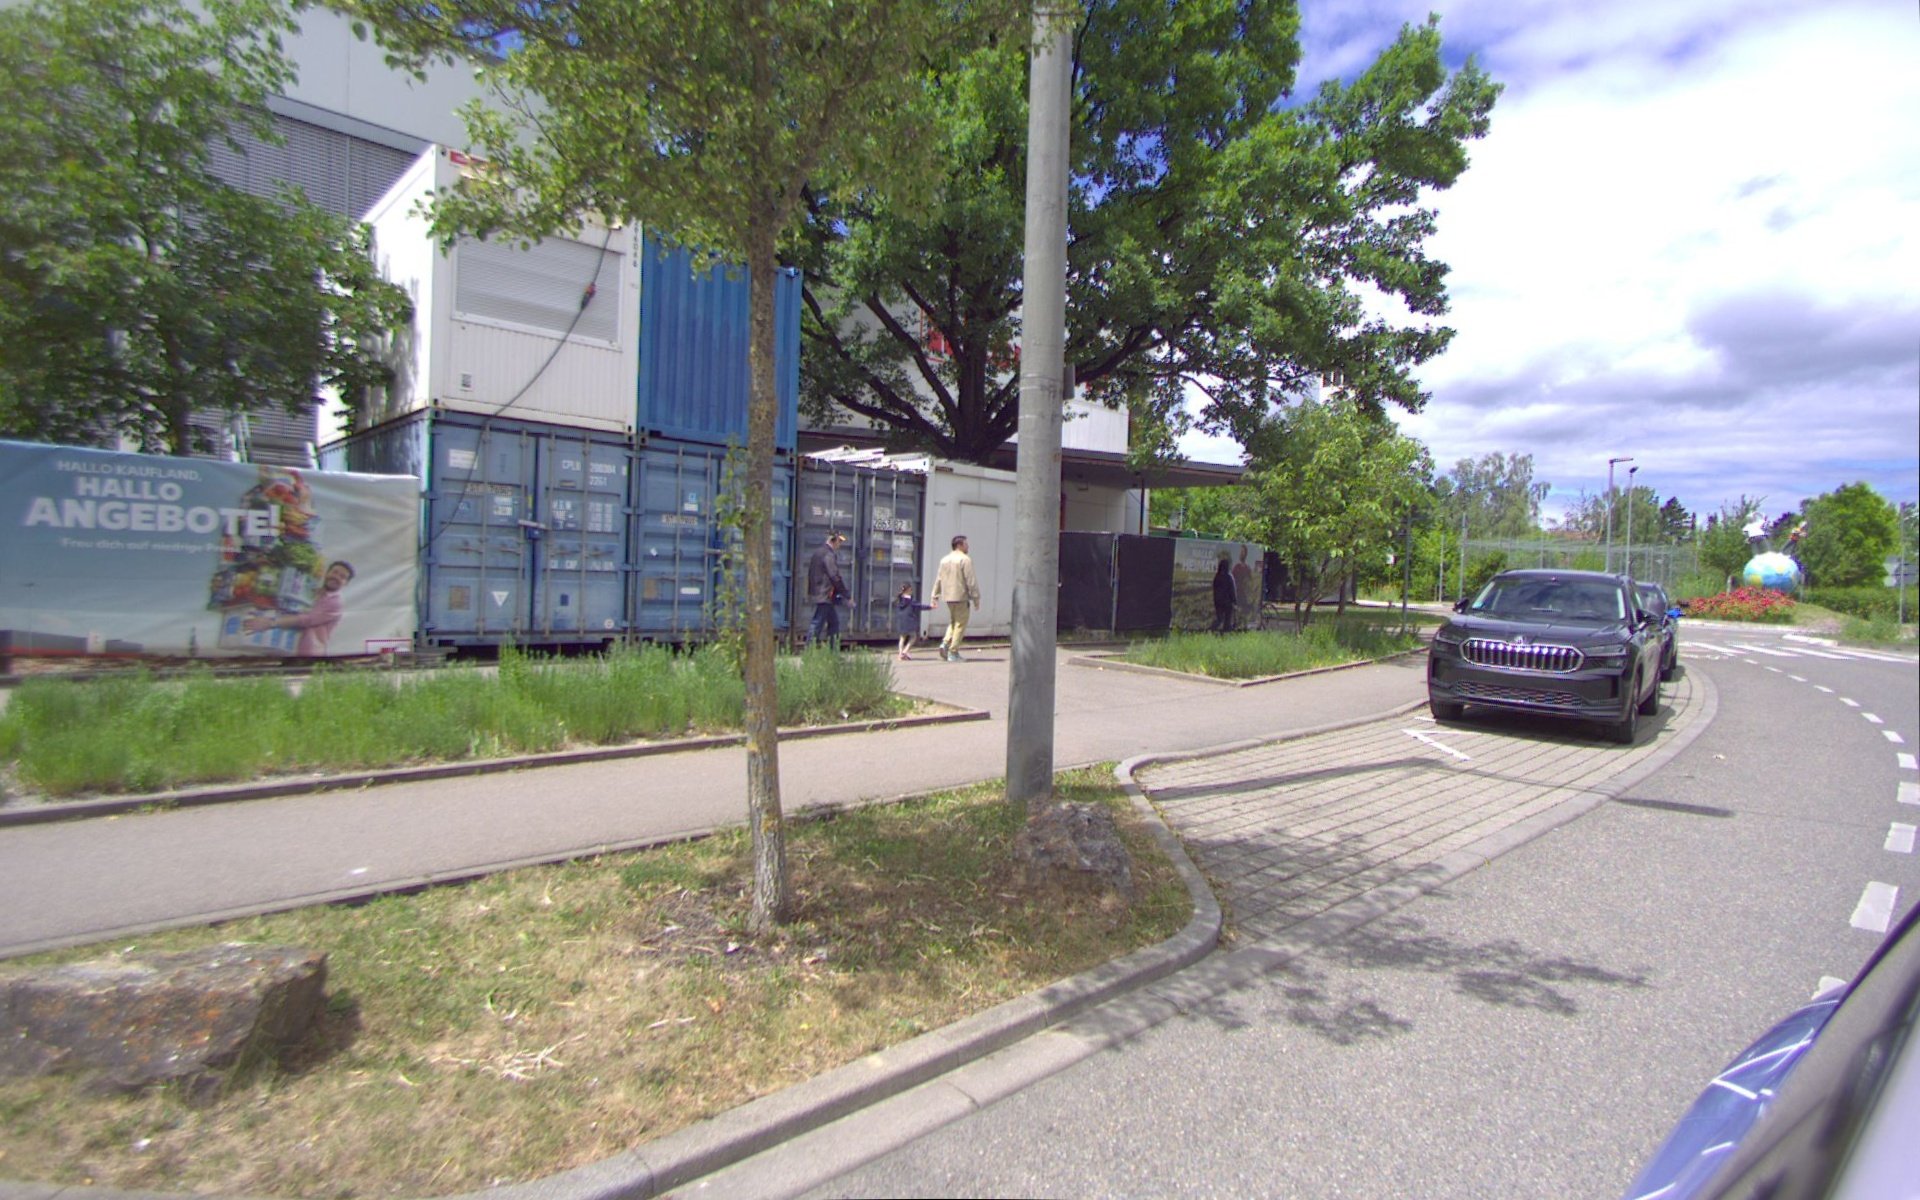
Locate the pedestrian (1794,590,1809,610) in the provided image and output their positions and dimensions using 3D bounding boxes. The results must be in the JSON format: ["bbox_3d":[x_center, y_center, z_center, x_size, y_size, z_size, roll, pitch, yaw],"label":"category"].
[{"bbox_3d":[66.534,0.000,80.028,0.758,1.577,0.596,2,1,30],"label":"pedestrian"}]

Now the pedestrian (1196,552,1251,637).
[{"bbox_3d":[5.175,-0.121,19.873,0.755,1.638,0.743,0,2,-43],"label":"pedestrian"}]

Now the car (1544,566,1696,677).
[{"bbox_3d":[11.685,0.273,17.783,1.912,1.597,4.372,4,4,36],"label":"car"}]

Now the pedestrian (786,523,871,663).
[{"bbox_3d":[-1.677,-0.101,12.916,0.830,1.718,0.652,0,2,-43],"label":"pedestrian"}]

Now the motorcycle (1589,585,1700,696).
[{"bbox_3d":[9.520,0.493,14.030,1.069,1.321,2.230,6,4,37],"label":"motorcycle"}]

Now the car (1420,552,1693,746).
[{"bbox_3d":[6.849,0.370,11.345,1.876,1.641,4.778,5,4,39],"label":"car"}]

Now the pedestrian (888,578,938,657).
[{"bbox_3d":[-0.659,0.227,14.162,0.557,1.071,0.412,0,2,-43],"label":"pedestrian"}]

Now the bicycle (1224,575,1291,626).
[{"bbox_3d":[7.072,0.011,24.050,1.755,1.169,0.452,0,1,-31],"label":"bicycle"}]

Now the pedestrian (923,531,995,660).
[{"bbox_3d":[-0.012,-0.071,13.967,0.712,1.717,0.651,0,2,-43],"label":"pedestrian"}]
